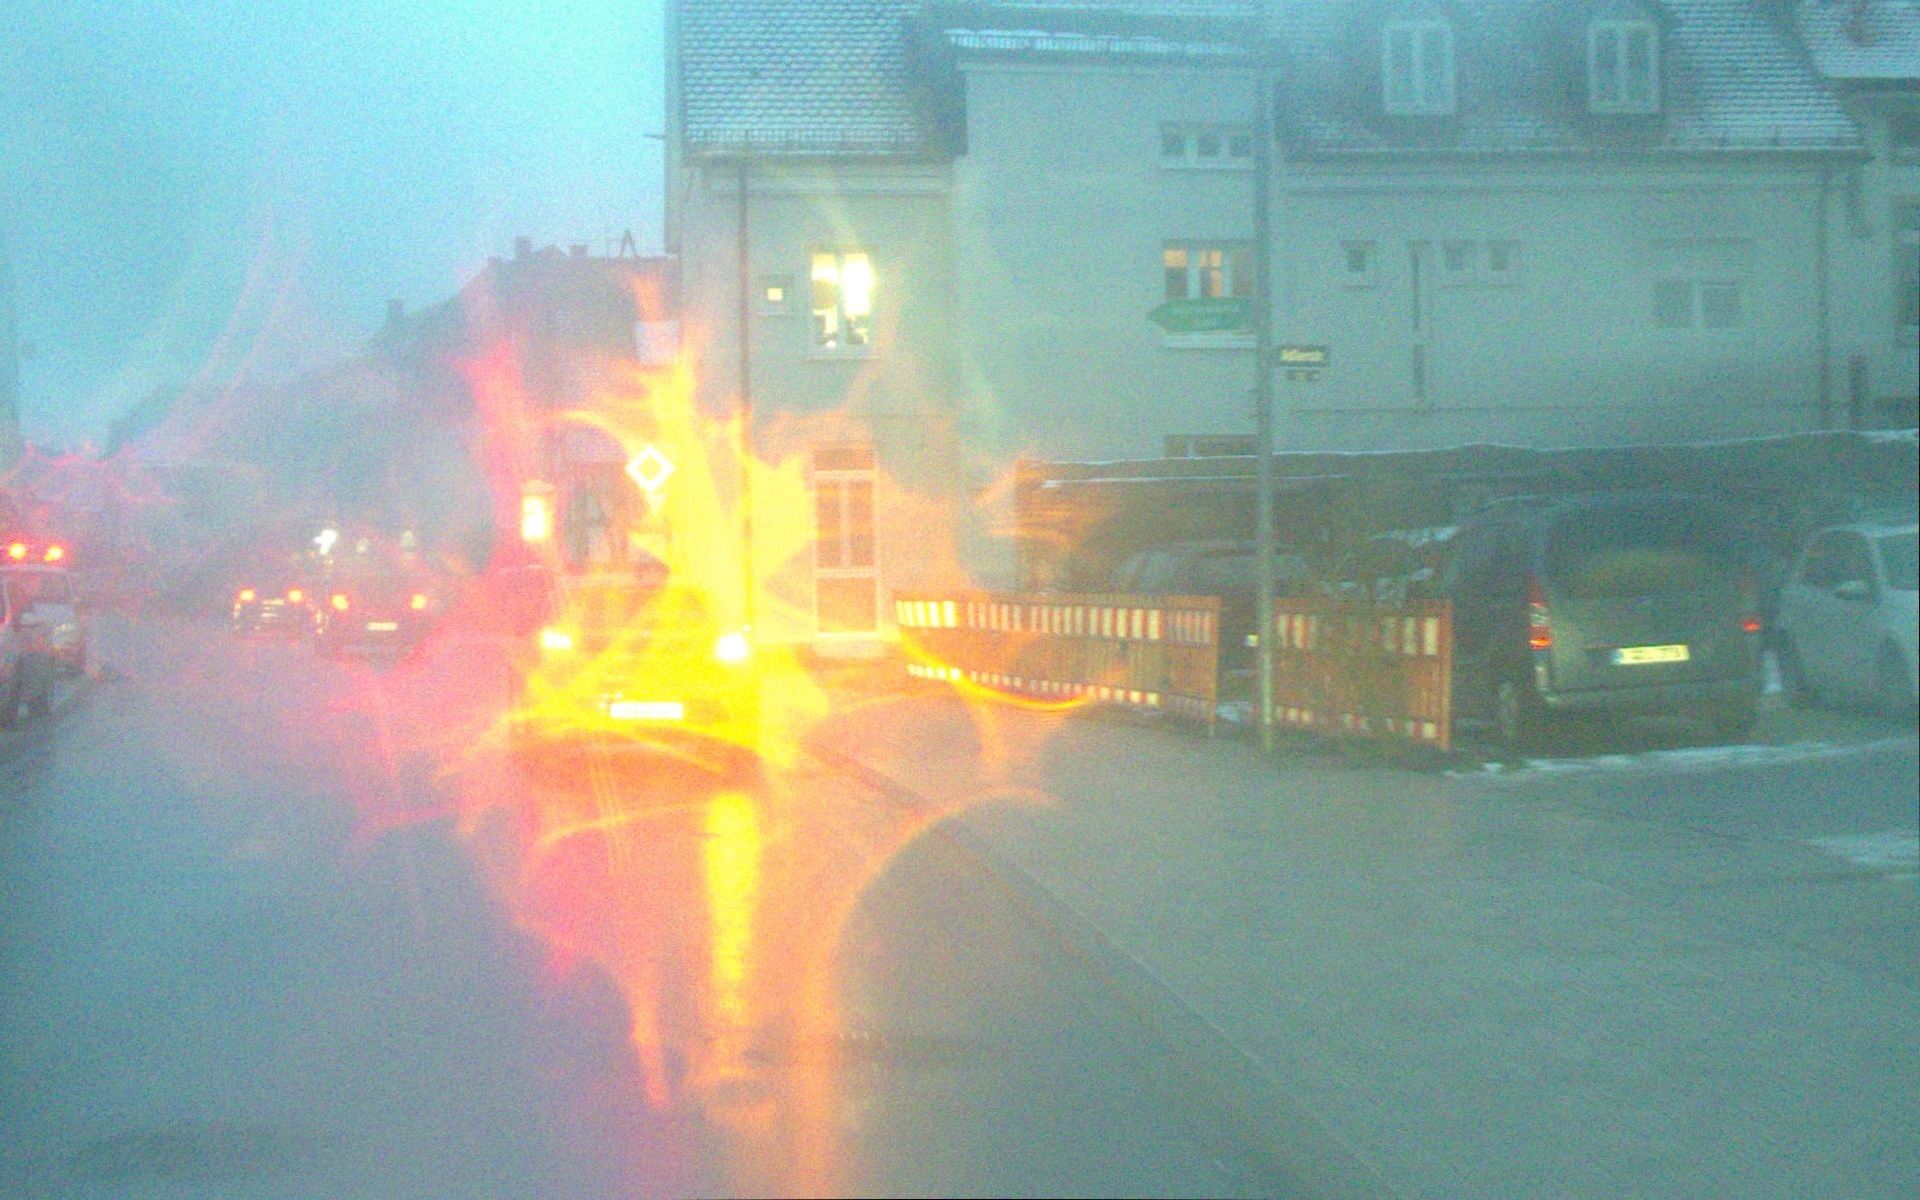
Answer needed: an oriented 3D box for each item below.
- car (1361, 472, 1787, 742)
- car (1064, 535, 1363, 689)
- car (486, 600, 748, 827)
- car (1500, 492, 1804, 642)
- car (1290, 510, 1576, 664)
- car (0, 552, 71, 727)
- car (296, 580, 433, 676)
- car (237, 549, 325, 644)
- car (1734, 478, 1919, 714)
[{"bbox_3d":[4.470,0.010,25.755,1.993,1.759,4.351,-3,1,-5],"label":"car"},{"bbox_3d":[2.528,0.085,35.132,1.886,1.457,3.634,-1,1,-16],"label":"car"},{"bbox_3d":[-2.596,0.793,25.993,1.814,1.528,4.001,0,1,-6],"label":"car"},{"bbox_3d":[7.462,-0.389,37.526,1.822,1.457,4.550,-3,2,-8],"label":"car"},{"bbox_3d":[4.930,-0.163,36.282,1.720,1.457,3.634,-3,2,-14],"label":"car"},{"bbox_3d":[-10.084,0.299,34.007,1.911,1.524,4.548,4,1,-8],"label":"car"},{"bbox_3d":[-10.349,0.456,59.560,1.993,1.583,4.001,0,1,-15],"label":"car"},{"bbox_3d":[-16.096,-0.094,81.581,1.993,2.195,4.001,0,1,-11],"label":"car"},{"bbox_3d":[7.343,-0.055,25.533,1.993,1.605,4.175,-3,0,-3],"label":"car"}]
